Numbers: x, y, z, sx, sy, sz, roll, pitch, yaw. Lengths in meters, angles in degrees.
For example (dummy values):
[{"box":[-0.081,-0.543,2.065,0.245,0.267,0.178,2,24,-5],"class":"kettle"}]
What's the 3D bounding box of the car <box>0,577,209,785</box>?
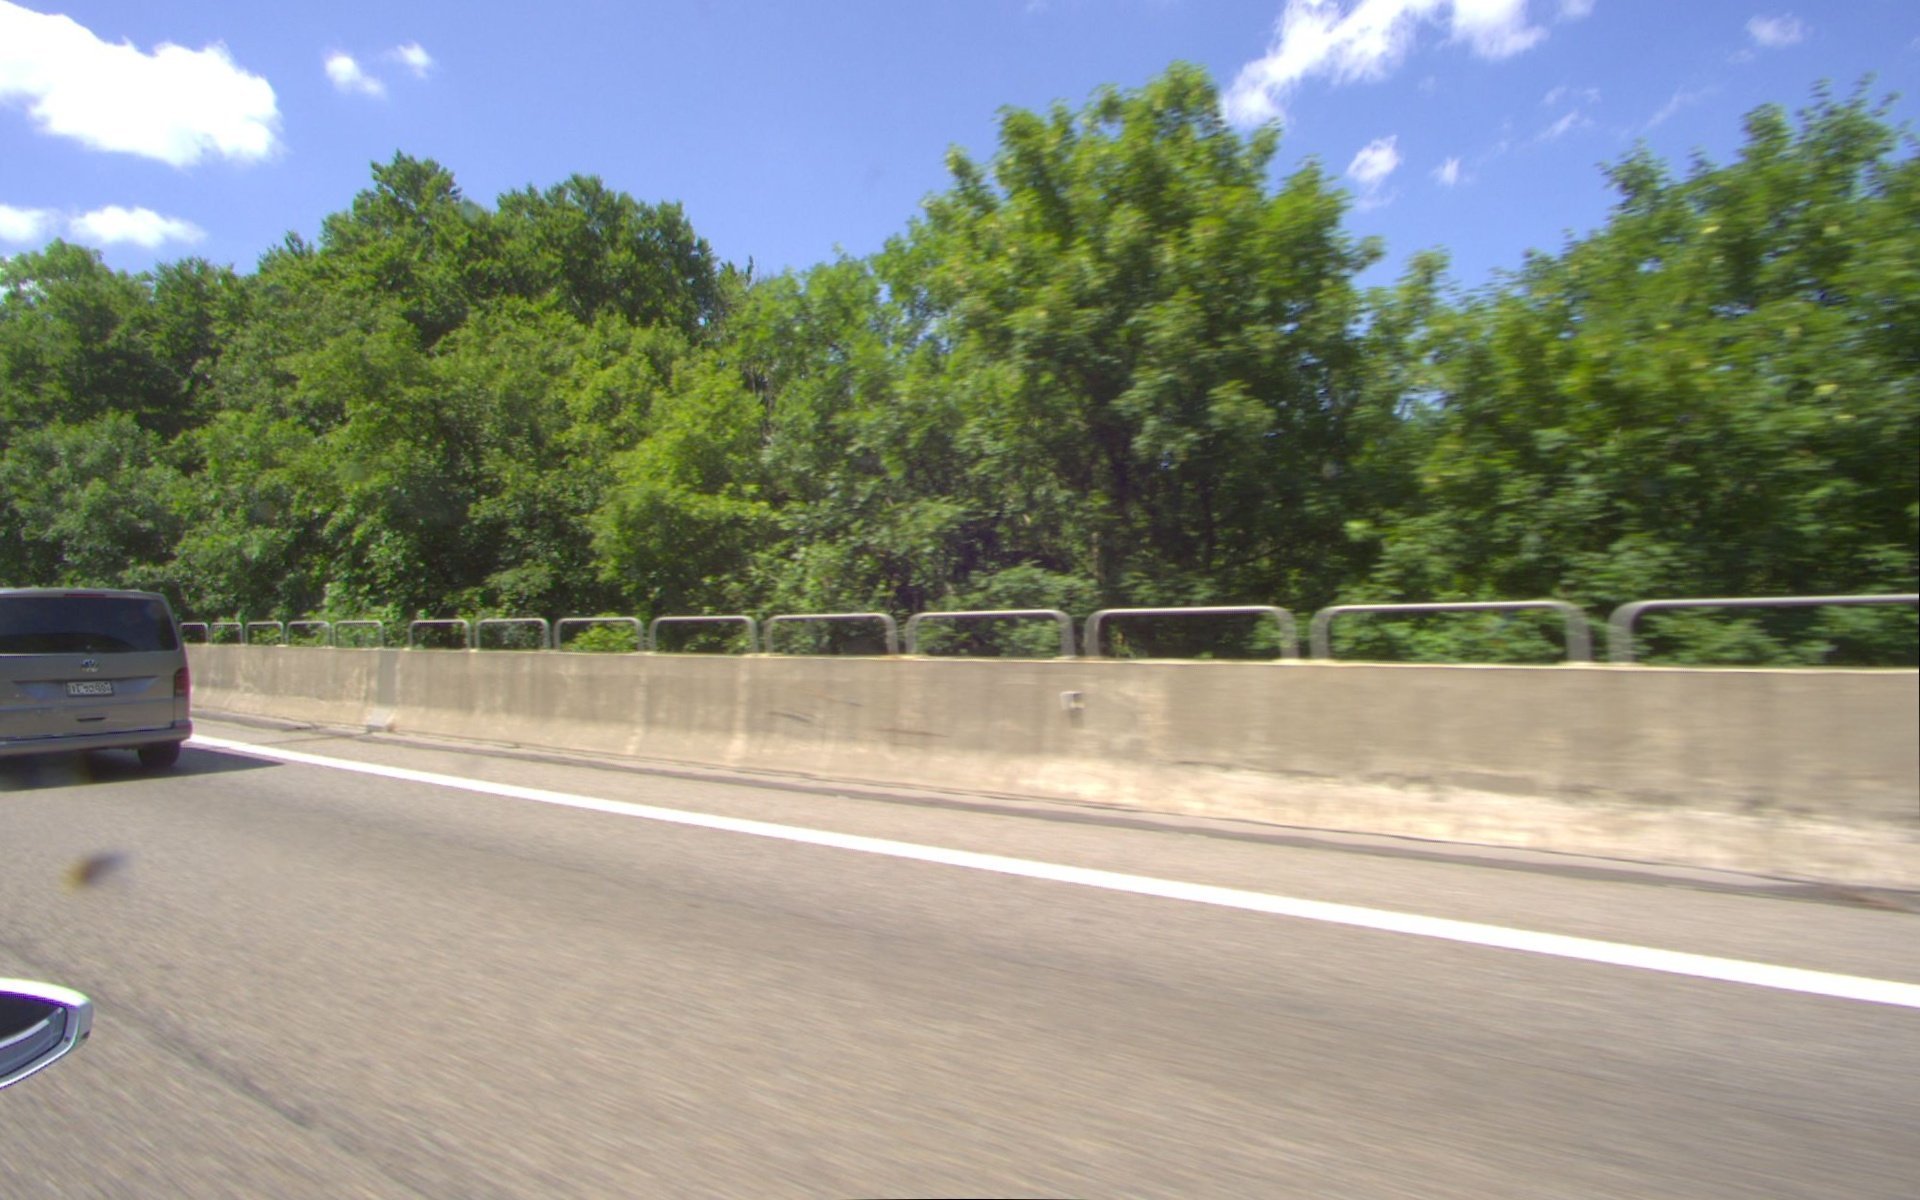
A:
[{"box":[-10.557,0.813,11.355,4.631,1.956,1.935,-1,-1,35],"class":"car"}]
